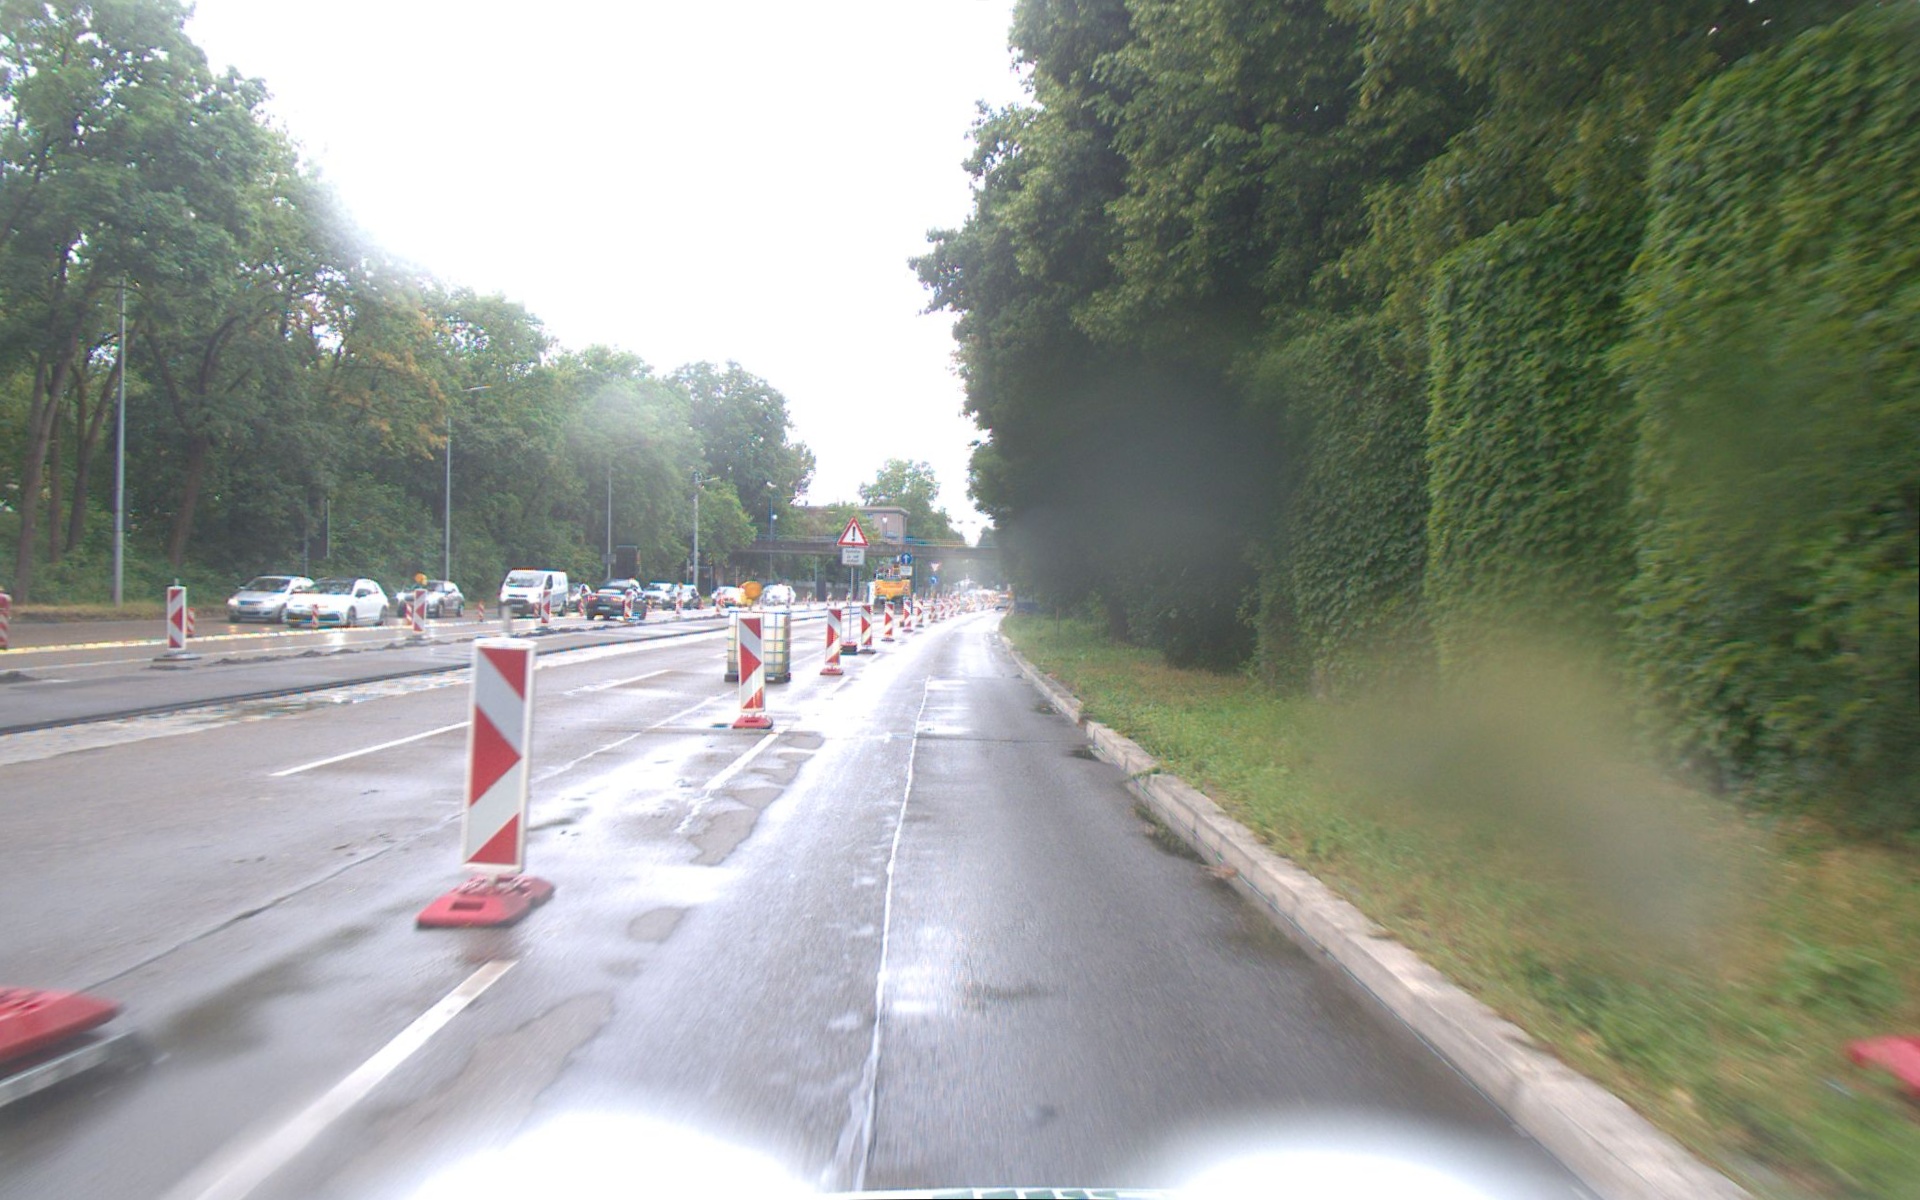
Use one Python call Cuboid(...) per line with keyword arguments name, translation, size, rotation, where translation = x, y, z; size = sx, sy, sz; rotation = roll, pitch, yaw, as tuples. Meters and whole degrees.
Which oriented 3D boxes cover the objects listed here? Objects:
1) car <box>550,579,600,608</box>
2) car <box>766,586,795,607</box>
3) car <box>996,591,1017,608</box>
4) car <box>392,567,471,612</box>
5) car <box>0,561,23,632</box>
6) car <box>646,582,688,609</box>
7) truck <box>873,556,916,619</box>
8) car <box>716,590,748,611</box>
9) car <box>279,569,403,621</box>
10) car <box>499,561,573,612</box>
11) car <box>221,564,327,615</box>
Cuboid(name="car", translation=(-20.274, -0.347, 87.298), size=(1.611, 1.445, 4.000), rotation=(2, 0, 1))
Cuboid(name="car", translation=(-15.277, -0.281, 140.902), size=(1.851, 1.690, 4.893), rotation=(2, 0, 0))
Cuboid(name="car", translation=(4.659, -0.046, 165.087), size=(1.952, 1.668, 4.002), rotation=(1, 0, 3))
Cuboid(name="car", translation=(-20.742, -0.403, 65.076), size=(1.790, 1.650, 3.999), rotation=(2, 0, -1))
Cuboid(name="car", translation=(-21.221, -0.093, 33.744), size=(1.694, 1.502, 4.486), rotation=(1, 0, -1))
Cuboid(name="car", translation=(-17.449, -0.256, 98.767), size=(1.740, 1.513, 4.196), rotation=(2, 0, 0))
Cuboid(name="truck", translation=(-4.789, -0.902, 123.112), size=(2.839, 4.333, 10.753), rotation=(2, 0, -1))
Cuboid(name="car", translation=(-16.354, 0.005, 118.915), size=(1.644, 1.425, 4.013), rotation=(2, 0, 1))
Cuboid(name="car", translation=(-18.183, -0.120, 48.805), size=(1.952, 1.440, 4.393), rotation=(1, 0, 0))
Cuboid(name="car", translation=(-17.899, -0.559, 70.091), size=(1.953, 2.006, 4.901), rotation=(2, 0, -2))
Cuboid(name="car", translation=(-21.021, -0.296, 50.833), size=(1.644, 1.425, 3.639), rotation=(2, 0, 1))
